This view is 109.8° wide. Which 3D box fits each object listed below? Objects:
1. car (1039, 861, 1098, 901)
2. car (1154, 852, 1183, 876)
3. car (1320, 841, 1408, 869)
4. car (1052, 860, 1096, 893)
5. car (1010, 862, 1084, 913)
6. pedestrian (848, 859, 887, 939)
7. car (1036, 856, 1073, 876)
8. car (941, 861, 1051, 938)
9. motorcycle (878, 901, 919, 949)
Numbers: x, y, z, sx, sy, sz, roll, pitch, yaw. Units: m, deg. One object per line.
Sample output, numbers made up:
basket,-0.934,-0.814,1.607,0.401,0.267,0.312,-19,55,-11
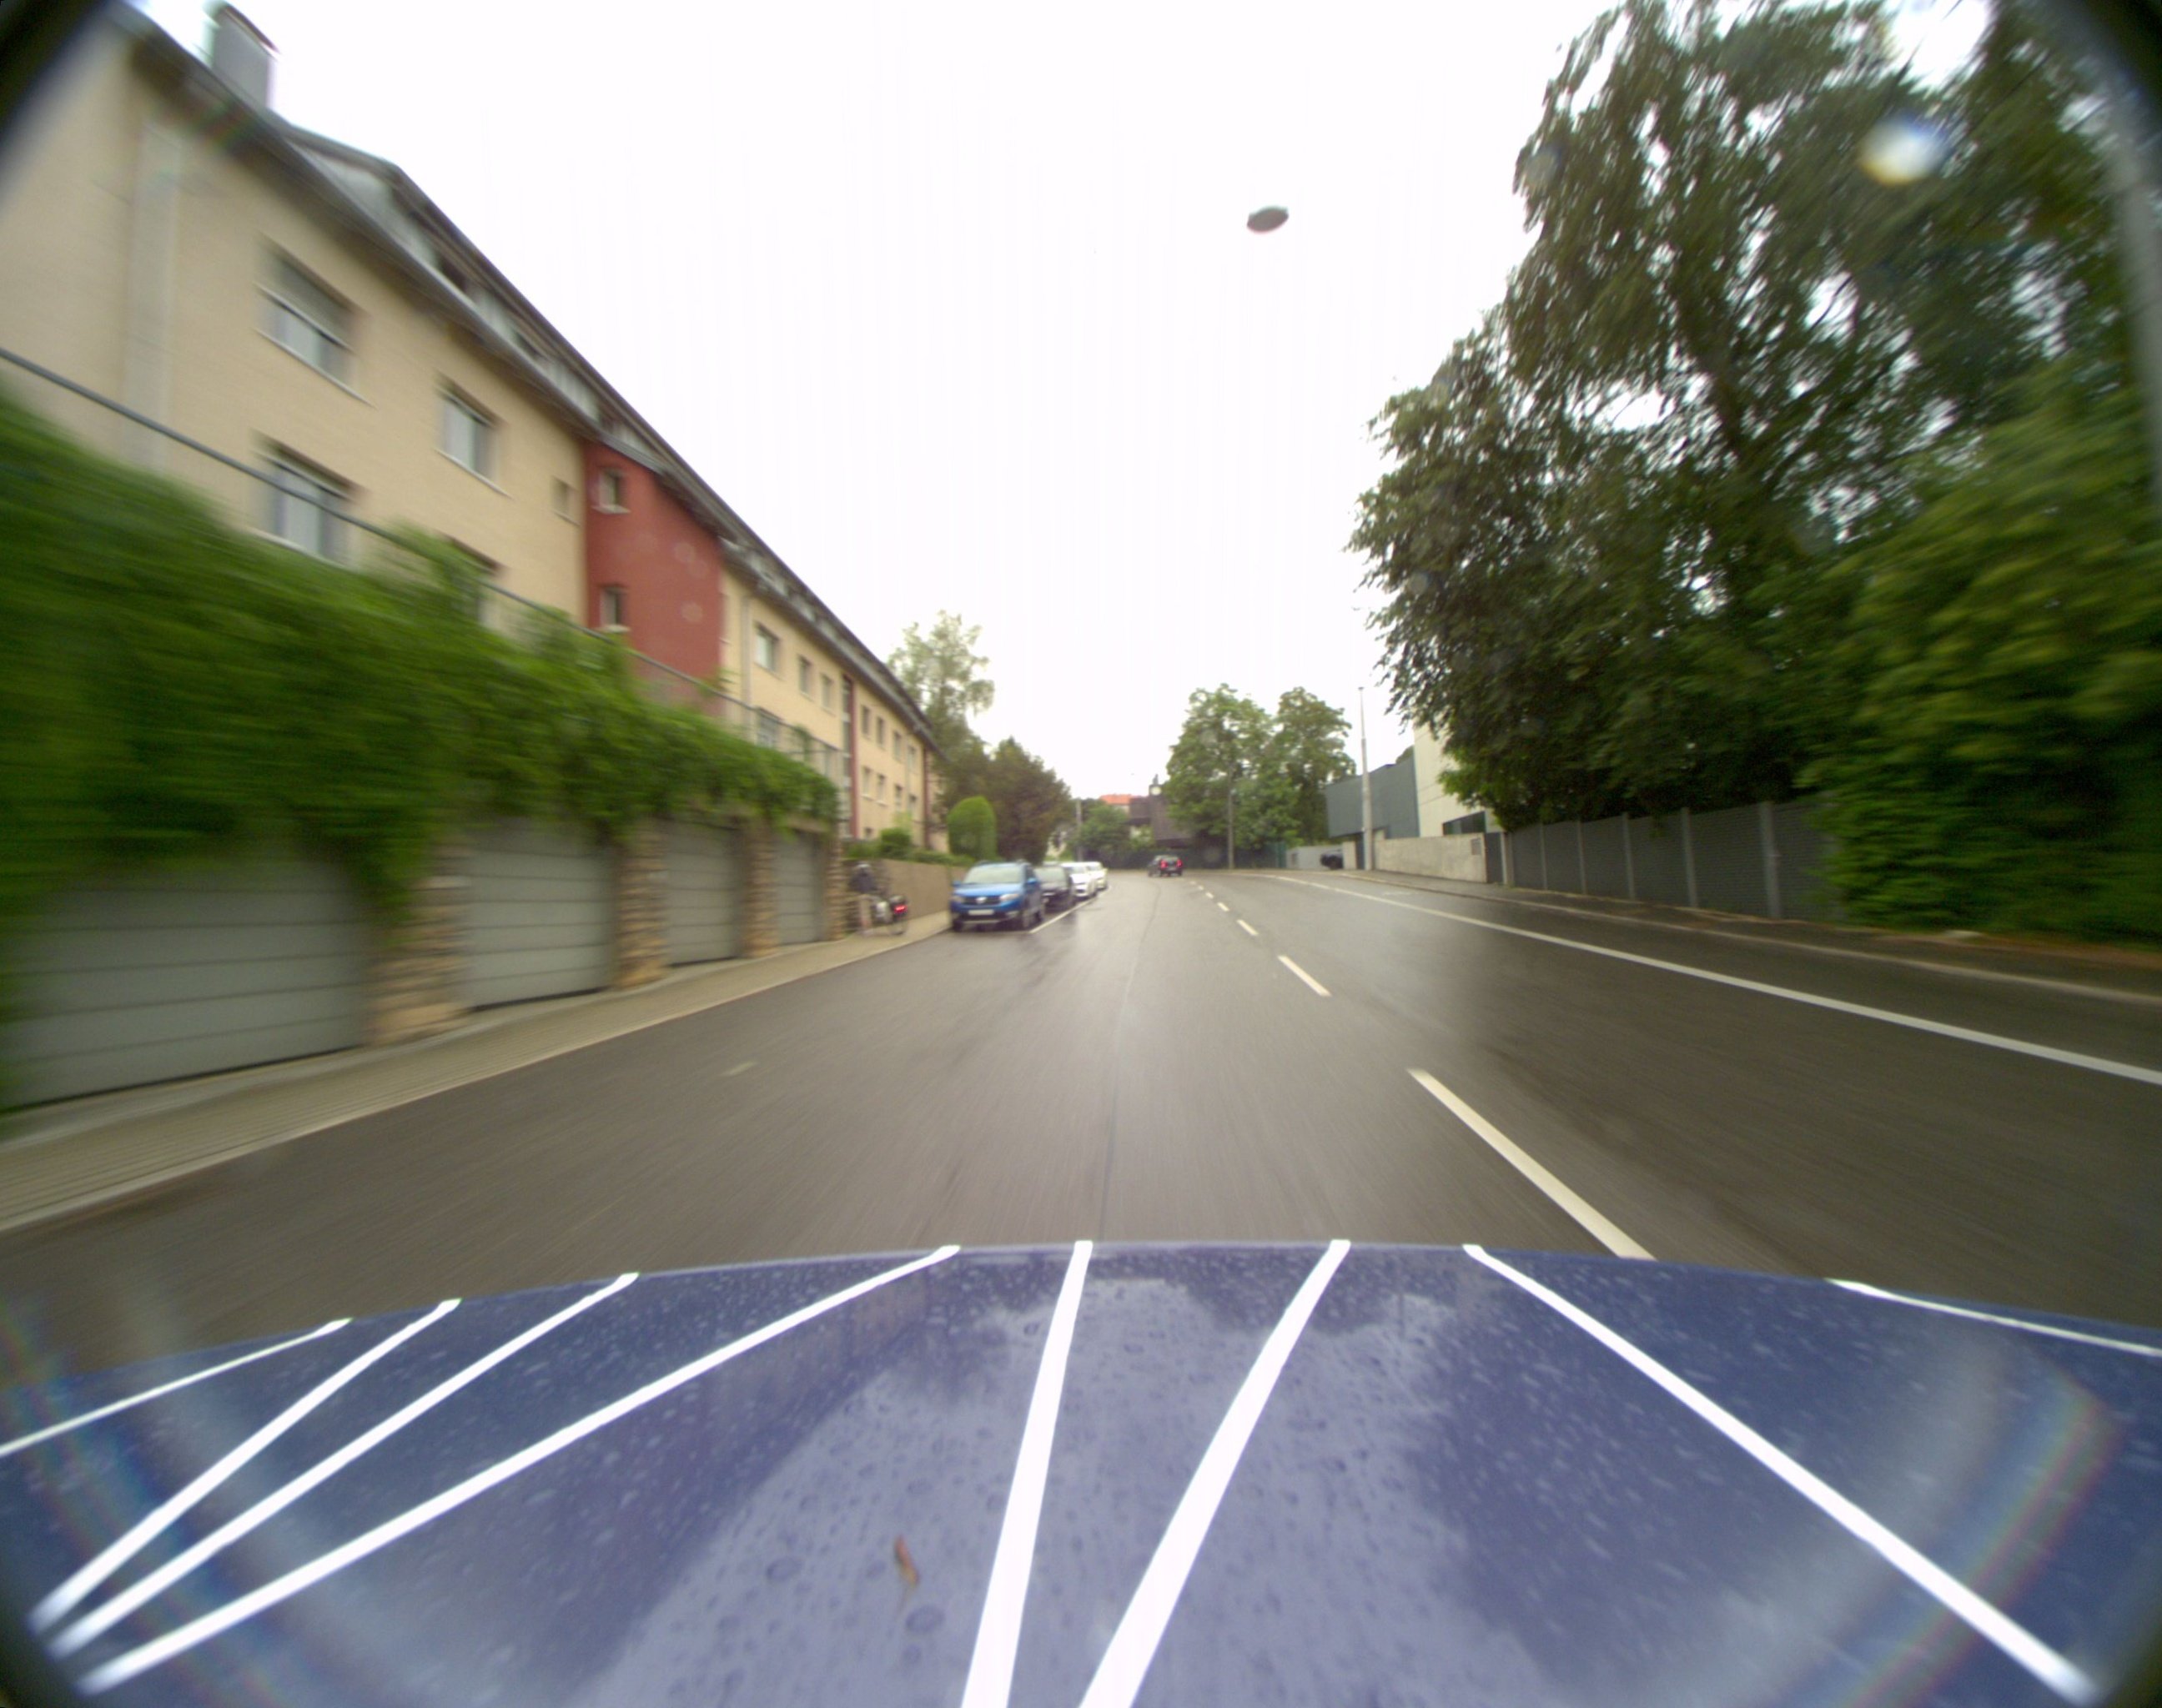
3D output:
car,-0.431,1.039,30.771,1.811,1.446,4.256,-2,-1,6
car,6.069,0.667,53.298,1.653,1.412,3.802,-5,1,3
car,15.212,0.067,40.905,3.989,1.293,1.901,-3,0,40
car,-0.285,1.102,38.566,1.783,1.427,4.571,-4,-1,4
car,-1.009,1.035,24.769,1.692,1.446,4.256,-2,-1,6
pedestrian,-4.561,0.947,16.188,0.622,1.641,0.613,-4,1,-25
car,-2.100,0.957,58.802,1.689,1.462,3.732,2,-2,-22
car,-1.915,0.997,18.473,1.737,1.584,4.256,-2,-1,6
motorcycle,-3.815,1.452,15.792,0.537,0.851,1.377,-4,0,-24
